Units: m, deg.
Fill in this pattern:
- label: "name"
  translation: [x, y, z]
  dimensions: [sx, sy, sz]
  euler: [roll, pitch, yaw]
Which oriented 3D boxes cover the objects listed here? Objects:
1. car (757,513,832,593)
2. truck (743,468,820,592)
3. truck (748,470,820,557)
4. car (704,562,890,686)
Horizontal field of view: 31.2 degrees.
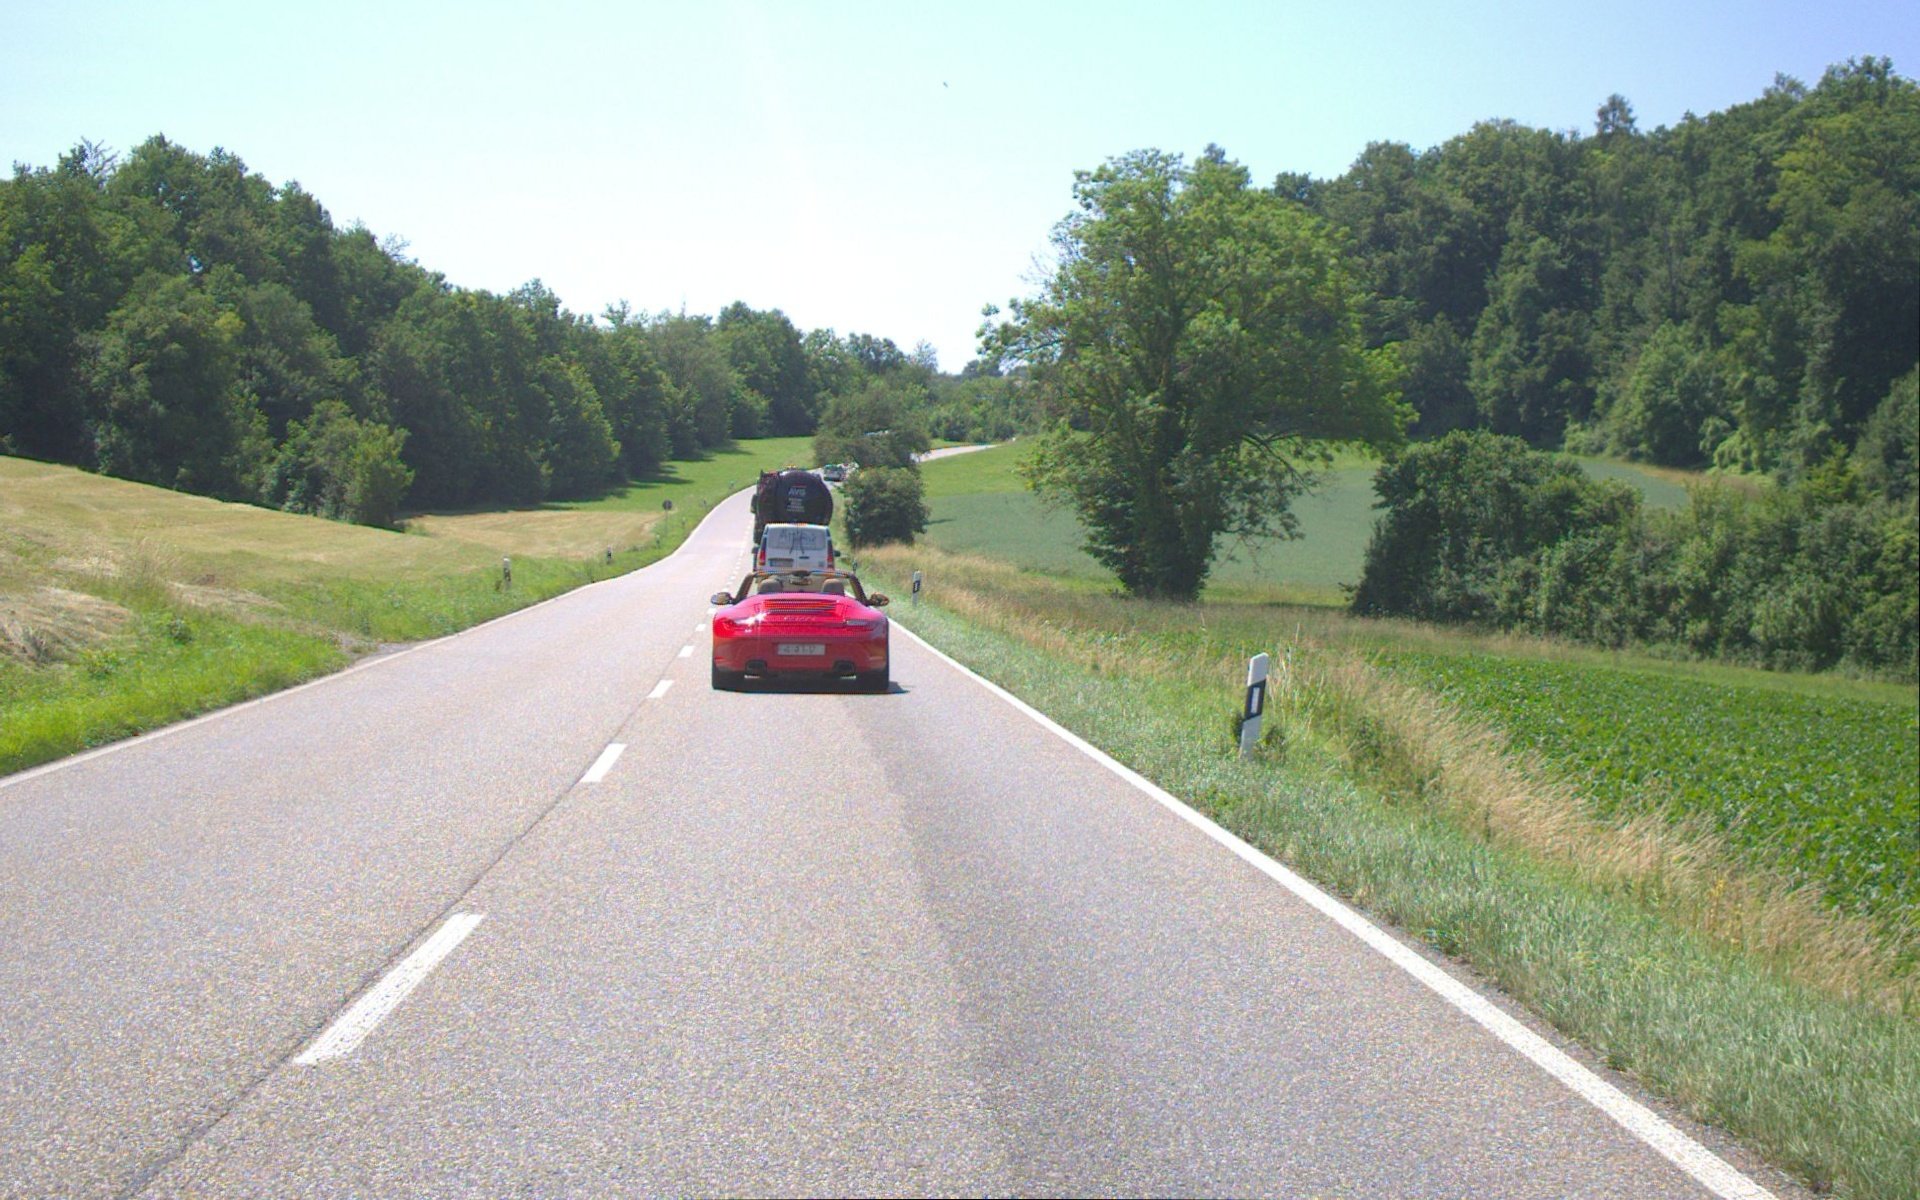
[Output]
- label: "car"
  translation: [-4.040, -1.177, 84.574]
  dimensions: [1.678, 1.894, 4.010]
  euler: [0, 1, 0]
- label: "truck"
  translation: [-6.350, -2.568, 120.827]
  dimensions: [2.403, 4.035, 12.553]
  euler: [1, 2, -4]
- label: "truck"
  translation: [-10.634, -5.274, 206.877]
  dimensions: [3.724, 4.643, 12.035]
  euler: [1, 4, -5]
- label: "car"
  translation: [-1.746, 0.225, 37.045]
  dimensions: [1.882, 1.251, 4.010]
  euler: [0, 1, -2]
